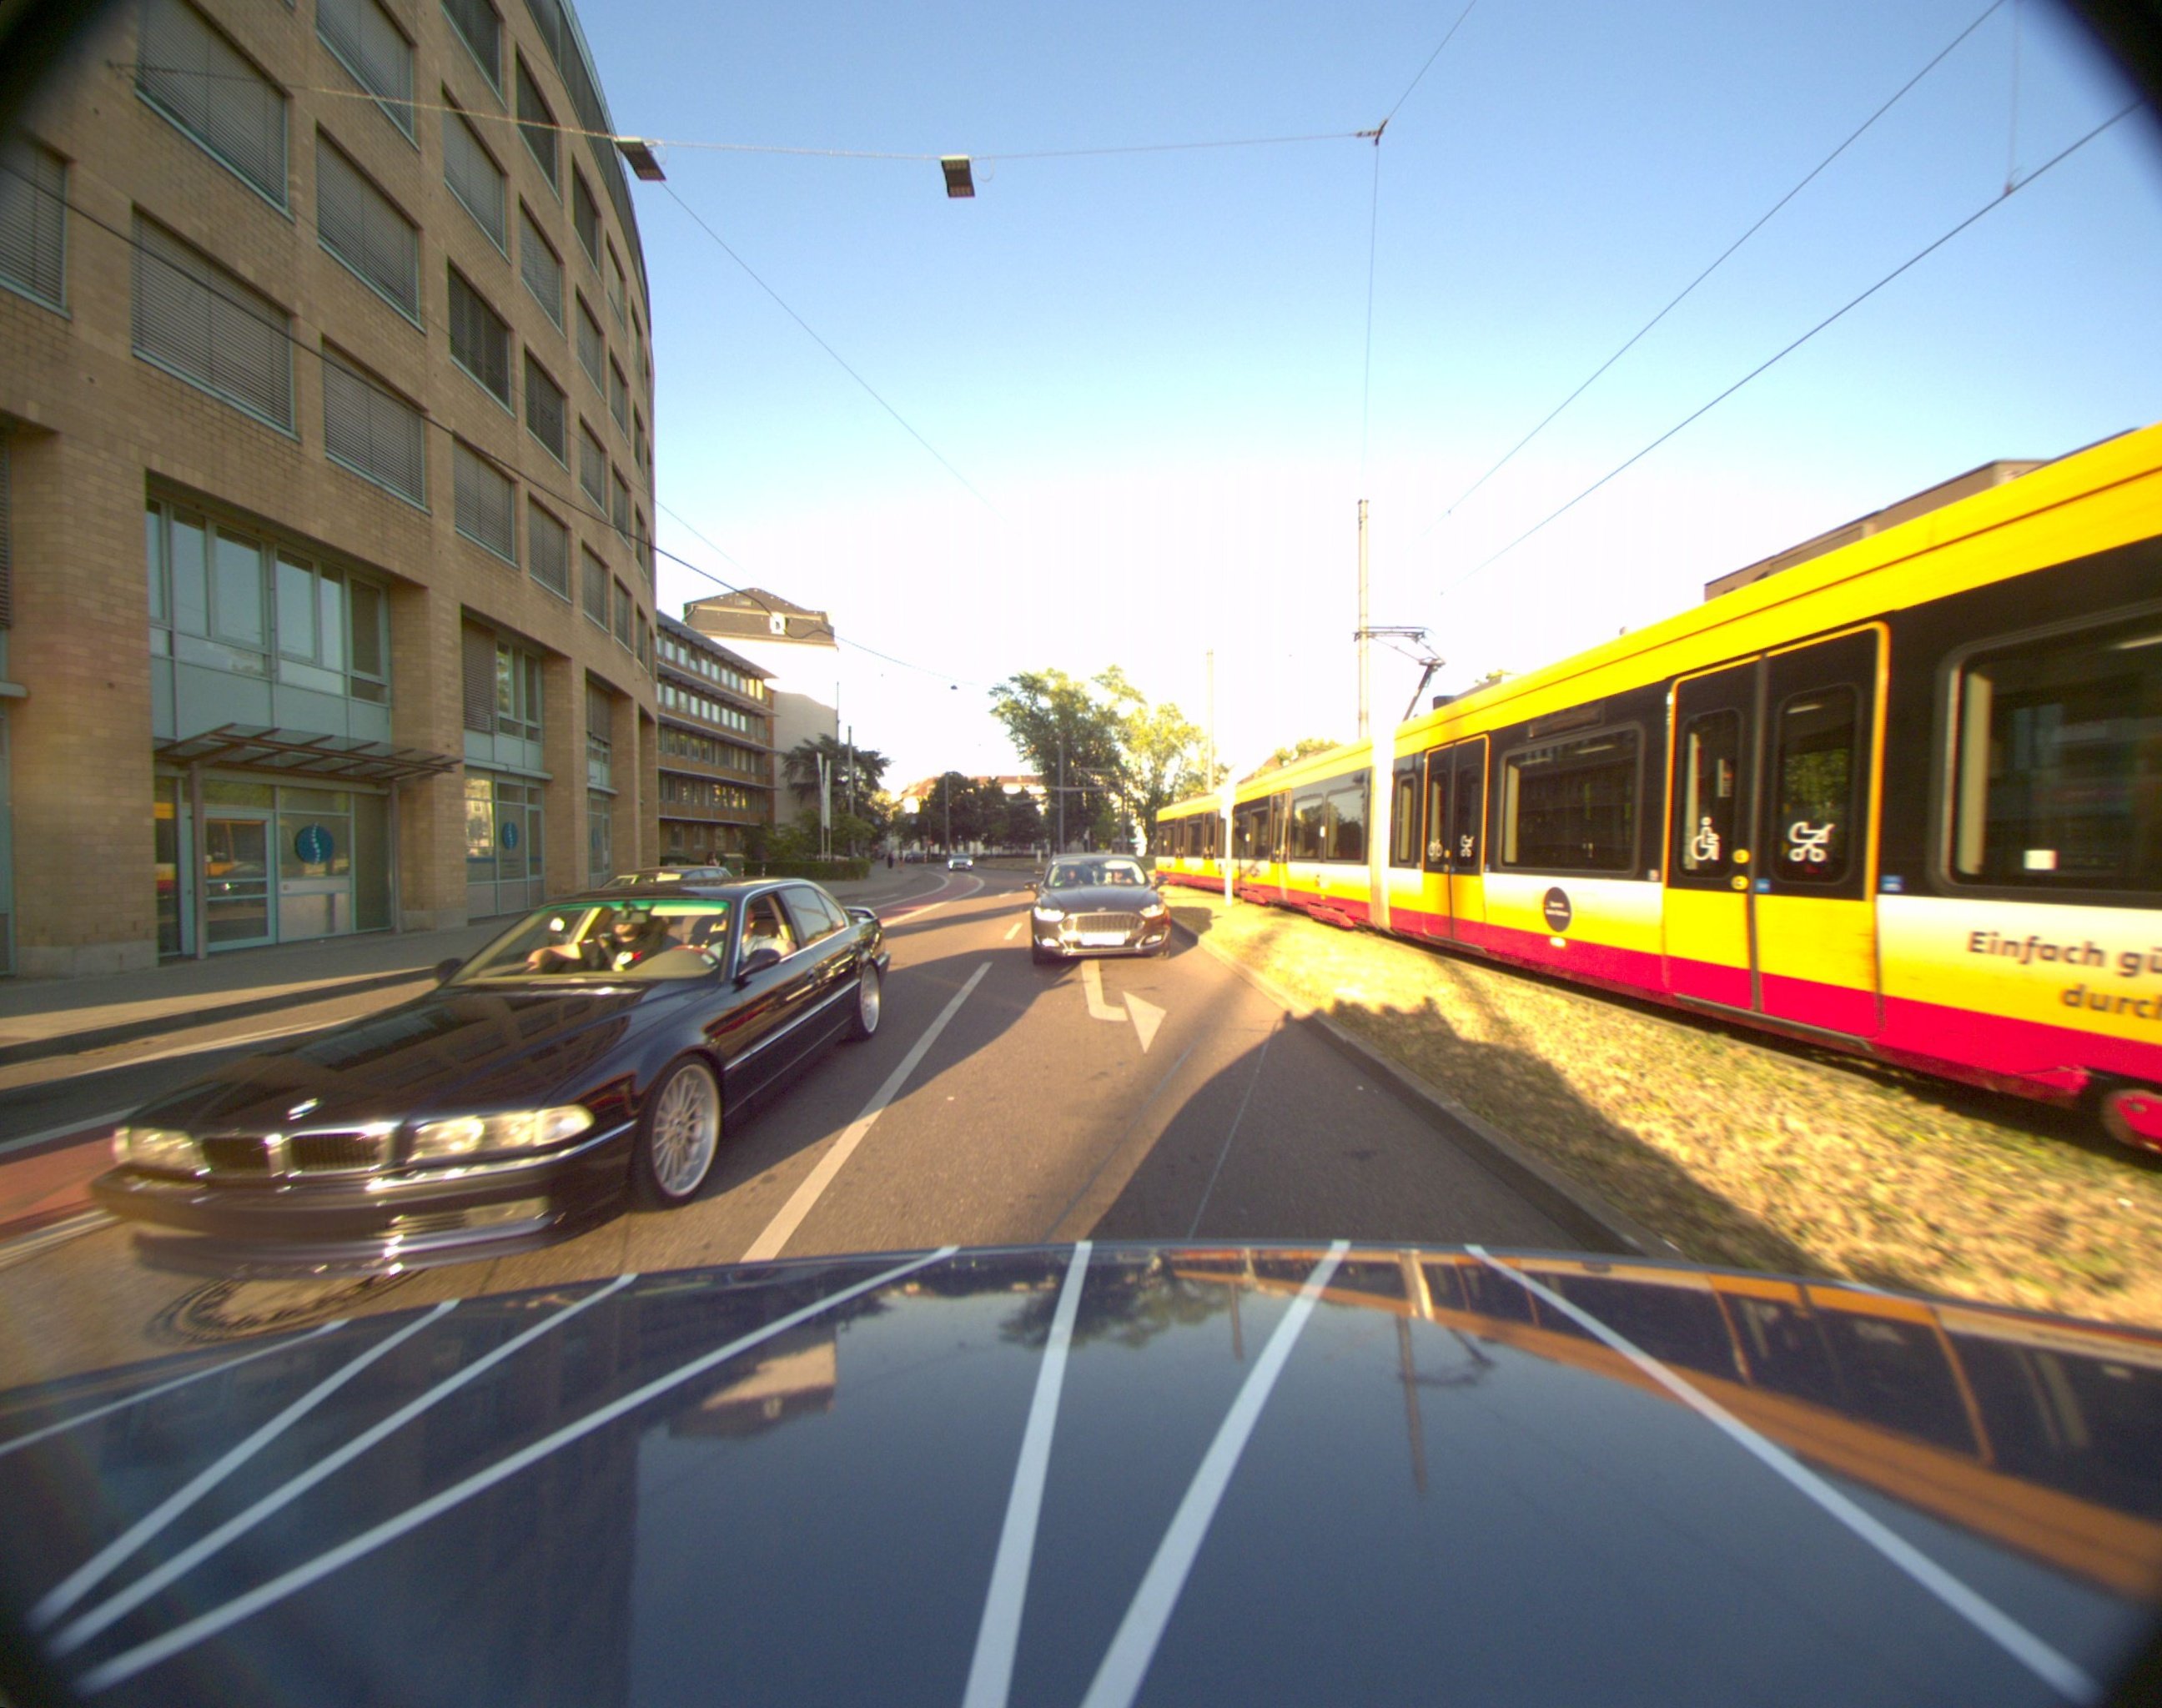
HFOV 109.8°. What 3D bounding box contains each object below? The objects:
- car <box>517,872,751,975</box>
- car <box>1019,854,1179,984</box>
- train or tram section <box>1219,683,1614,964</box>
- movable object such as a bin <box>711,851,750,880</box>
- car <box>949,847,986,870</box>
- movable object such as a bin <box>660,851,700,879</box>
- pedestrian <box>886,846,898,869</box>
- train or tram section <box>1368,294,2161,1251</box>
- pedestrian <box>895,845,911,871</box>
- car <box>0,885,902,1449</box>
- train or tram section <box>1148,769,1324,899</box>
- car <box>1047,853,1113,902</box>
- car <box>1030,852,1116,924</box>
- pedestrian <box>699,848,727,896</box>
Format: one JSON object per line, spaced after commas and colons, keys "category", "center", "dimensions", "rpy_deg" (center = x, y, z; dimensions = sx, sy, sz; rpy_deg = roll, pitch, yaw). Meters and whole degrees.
{"category": "car", "center": [-7.557, 1.088, 13.378], "dimensions": [1.759, 1.379, 3.999], "rpy_deg": [-1, 1, -1]}
{"category": "car", "center": [0.248, 0.774, 11.390], "dimensions": [1.890, 1.477, 4.725], "rpy_deg": [-1, 1, 1]}
{"category": "train or tram section", "center": [5.607, -0.495, 16.250], "dimensions": [2.885, 3.717, 12.180], "rpy_deg": [-1, 1, -1]}
{"category": "movable object such as a bin", "center": [-18.308, 0.607, 39.701], "dimensions": [1.427, 1.451, 1.332], "rpy_deg": [-1, 1, -4]}
{"category": "car", "center": [-9.216, 0.352, 62.070], "dimensions": [1.998, 1.740, 4.001], "rpy_deg": [-1, 1, 6]}
{"category": "movable object such as a bin", "center": [-21.242, 0.578, 40.286], "dimensions": [1.427, 1.451, 1.332], "rpy_deg": [-1, 1, -2]}
{"category": "pedestrian", "center": [-14.710, 0.250, 59.090], "dimensions": [0.728, 1.797, 0.724], "rpy_deg": [-1, 1, 1]}
{"category": "train or tram section", "center": [5.654, -0.347, 4.453], "dimensions": [2.916, 3.717, 13.215], "rpy_deg": [-1, 1, 0]}
{"category": "pedestrian", "center": [-13.186, 0.281, 56.287], "dimensions": [0.912, 1.884, 1.124], "rpy_deg": [-2, 1, -23]}
{"category": "car", "center": [-2.690, 1.032, 4.603], "dimensions": [1.998, 1.377, 4.739], "rpy_deg": [-2, 1, 1]}
{"category": "train or tram section", "center": [5.065, -0.667, 28.145], "dimensions": [2.914, 3.717, 12.183], "rpy_deg": [-1, 1, -6]}
{"category": "car", "center": [-0.087, 0.721, 25.545], "dimensions": [1.999, 1.453, 4.142], "rpy_deg": [-1, 1, -2]}
{"category": "car", "center": [-0.139, 0.759, 19.233], "dimensions": [1.897, 1.527, 4.704], "rpy_deg": [-1, 1, 1]}
{"category": "pedestrian", "center": [-12.983, 0.629, 26.825], "dimensions": [0.628, 1.672, 0.713], "rpy_deg": [-1, 1, -3]}
